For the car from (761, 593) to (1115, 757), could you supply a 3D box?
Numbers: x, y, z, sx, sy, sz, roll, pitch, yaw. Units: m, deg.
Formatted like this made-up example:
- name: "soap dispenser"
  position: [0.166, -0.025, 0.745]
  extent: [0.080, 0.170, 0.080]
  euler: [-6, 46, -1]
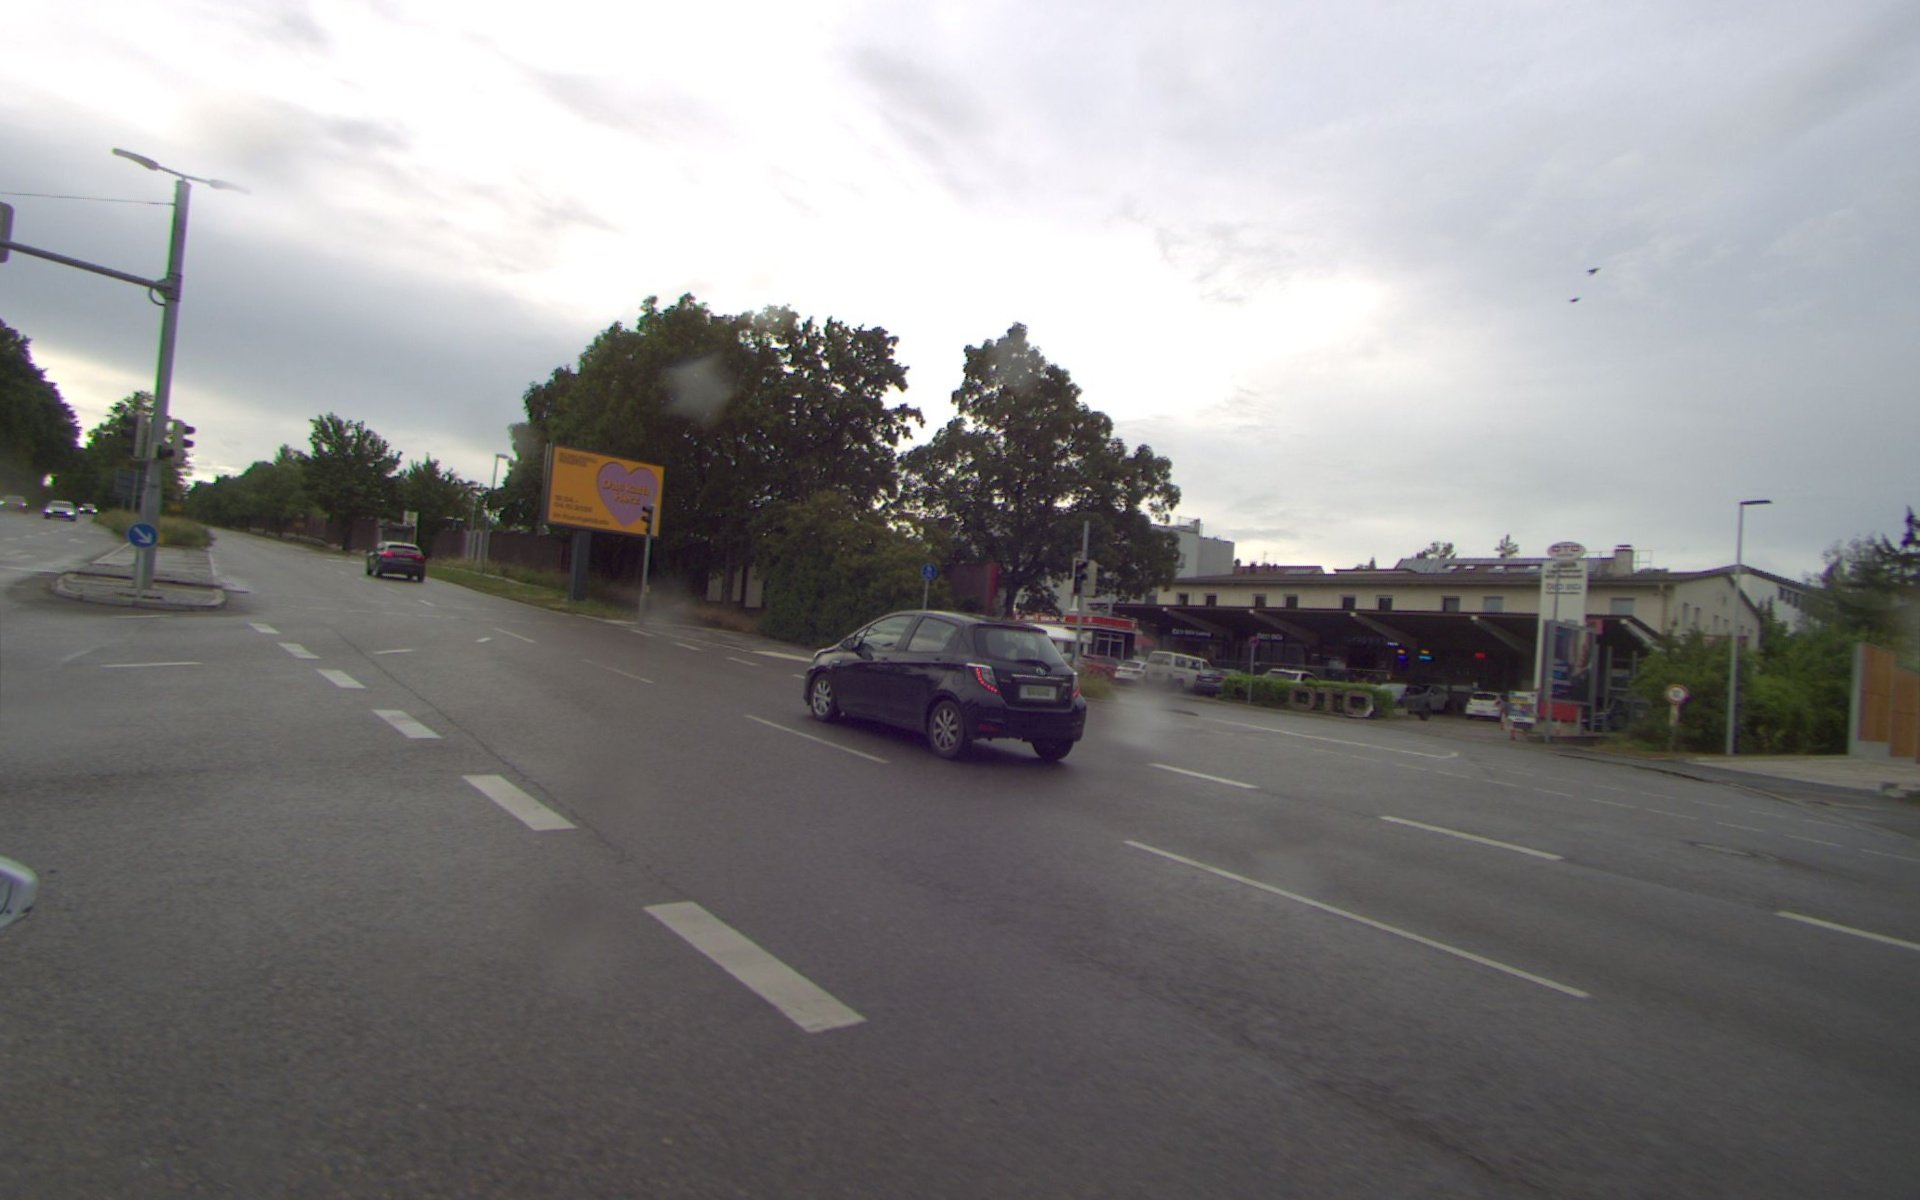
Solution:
- name: "car"
  position: [-0.484, 0.790, 12.006]
  extent: [1.736, 1.487, 4.595]
  euler: [7, -3, -38]

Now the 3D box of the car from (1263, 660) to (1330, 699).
- name: "car"
  position: [16.640, 3.946, 49.684]
  extent: [1.498, 1.583, 3.857]
  euler: [6, -1, 45]

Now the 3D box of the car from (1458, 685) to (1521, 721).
- name: "car"
  position: [27.794, 5.393, 52.729]
  extent: [1.891, 1.583, 3.859]
  euler: [6, -1, 43]

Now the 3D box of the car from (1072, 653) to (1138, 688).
- name: "car"
  position: [7.953, 3.841, 54.972]
  extent: [1.498, 1.583, 3.857]
  euler: [6, -1, 45]

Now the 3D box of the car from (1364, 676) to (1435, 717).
- name: "car"
  position: [19.863, 4.363, 45.401]
  extent: [1.498, 1.583, 3.857]
  euler: [6, -1, 45]

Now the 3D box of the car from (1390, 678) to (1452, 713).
- name: "car"
  position: [25.701, 5.338, 56.047]
  extent: [1.891, 1.583, 3.859]
  euler: [6, -1, 43]

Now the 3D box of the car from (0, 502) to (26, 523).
- name: "car"
  position: [-82.984, -7.671, 87.645]
  extent: [1.885, 1.615, 4.441]
  euler: [7, -1, -39]

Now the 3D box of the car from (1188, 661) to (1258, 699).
- name: "car"
  position: [13.024, 3.964, 49.718]
  extent: [1.498, 1.583, 3.857]
  euler: [6, -1, 45]

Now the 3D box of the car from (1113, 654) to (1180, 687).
- name: "car"
  position: [9.891, 3.732, 53.226]
  extent: [1.498, 1.415, 3.857]
  euler: [6, -1, 45]

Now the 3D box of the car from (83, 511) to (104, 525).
- name: "car"
  position: [-117.493, -11.118, 136.483]
  extent: [1.885, 1.615, 4.441]
  euler: [7, -1, -39]

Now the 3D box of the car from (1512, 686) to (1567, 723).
- name: "car"
  position: [29.163, 5.273, 50.590]
  extent: [1.497, 1.583, 3.859]
  euler: [6, -1, 43]

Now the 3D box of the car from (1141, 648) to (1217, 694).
- name: "car"
  position: [11.108, 3.612, 50.975]
  extent: [1.833, 1.970, 3.857]
  euler: [6, -1, 45]

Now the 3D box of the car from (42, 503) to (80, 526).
- name: "car"
  position: [-70.998, -6.724, 79.493]
  extent: [1.885, 1.553, 4.441]
  euler: [7, -1, -39]

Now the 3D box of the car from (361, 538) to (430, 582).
- name: "car"
  position: [-23.132, -1.670, 41.159]
  extent: [1.736, 1.488, 4.122]
  euler: [7, -1, -38]
